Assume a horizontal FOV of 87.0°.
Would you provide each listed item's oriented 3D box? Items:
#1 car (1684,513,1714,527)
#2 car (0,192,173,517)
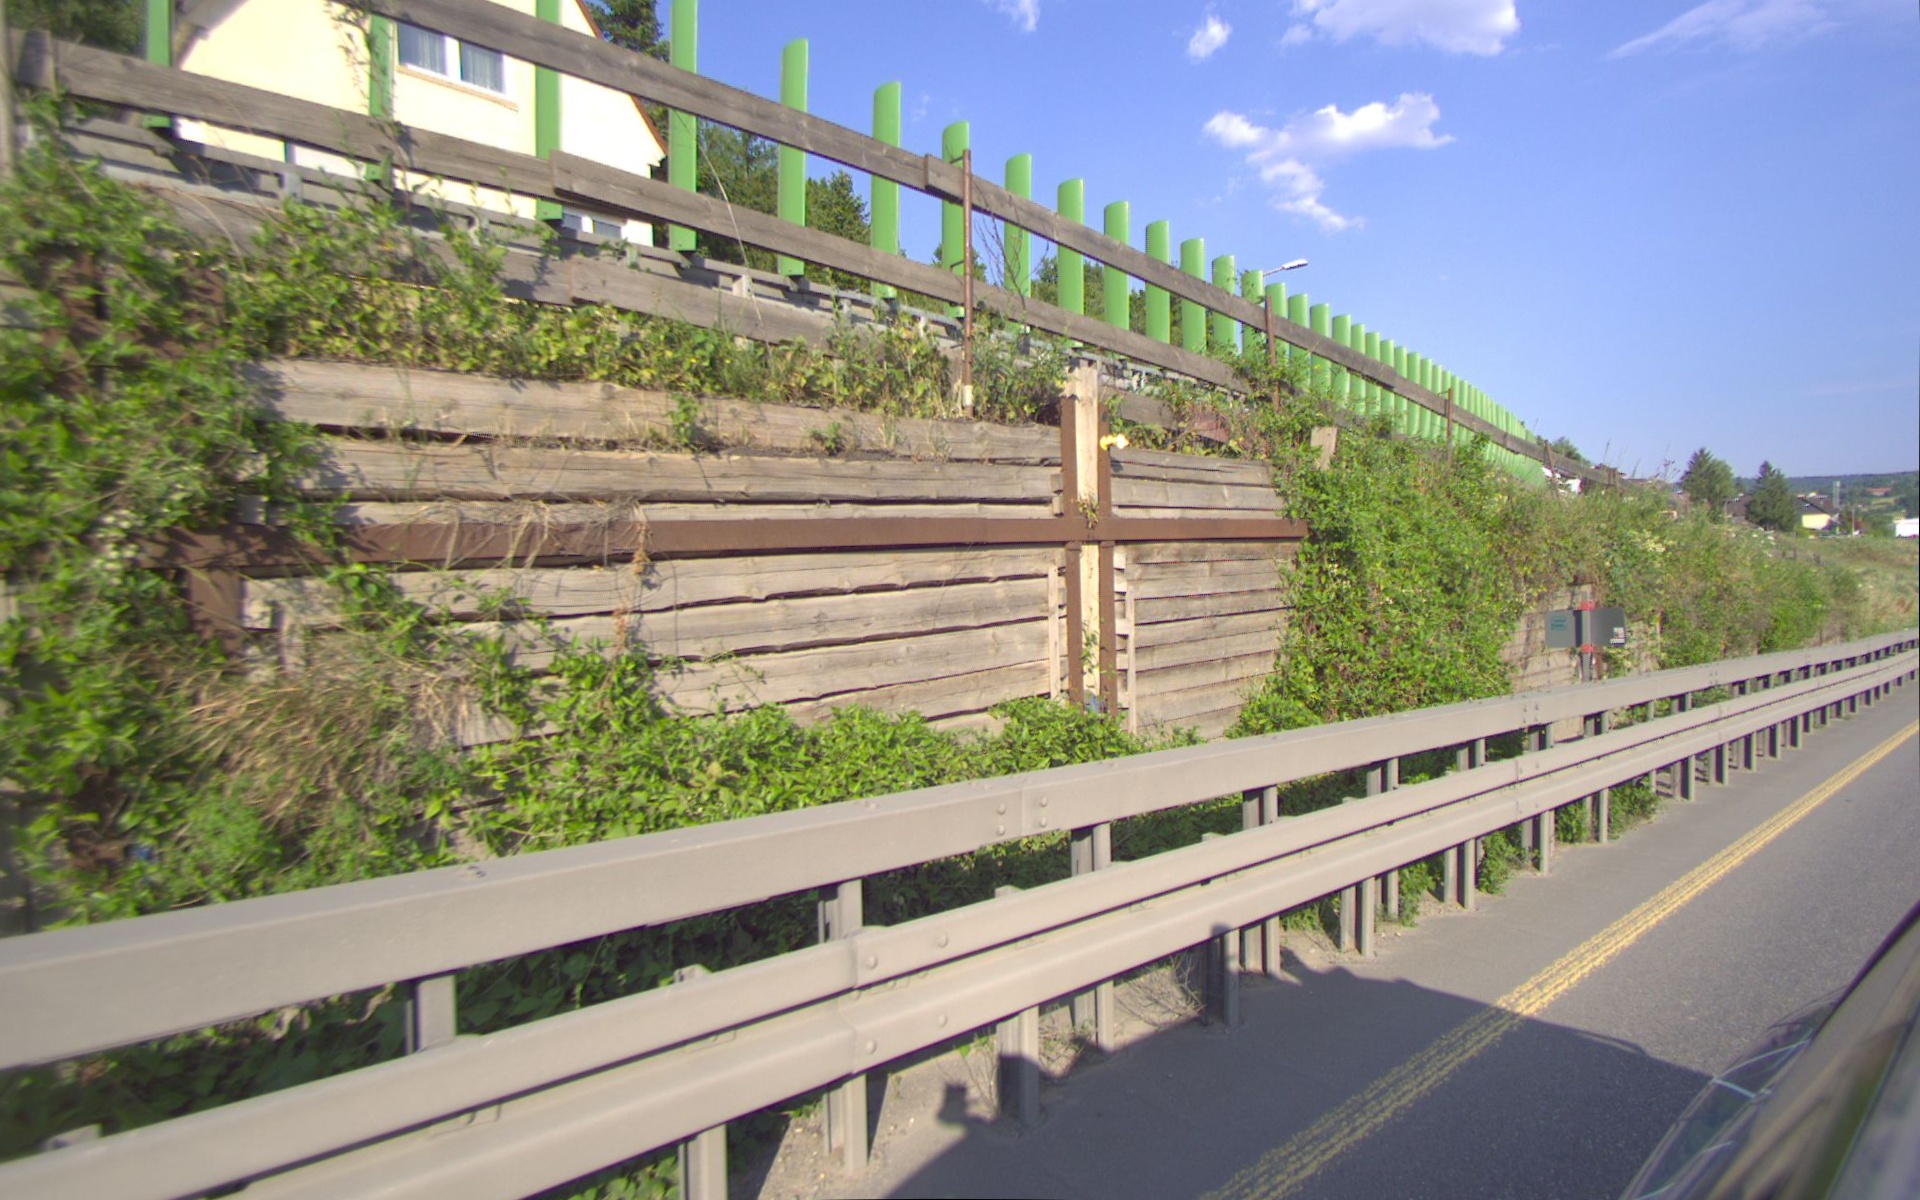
[{"bbox_3d":[88.537,-9.557,121.220,3.930,1.460,1.997,-1,0,-40],"label":"car"},{"bbox_3d":[-6.859,-1.321,4.895,1.696,1.678,4.580,1,3,42],"label":"car"}]
